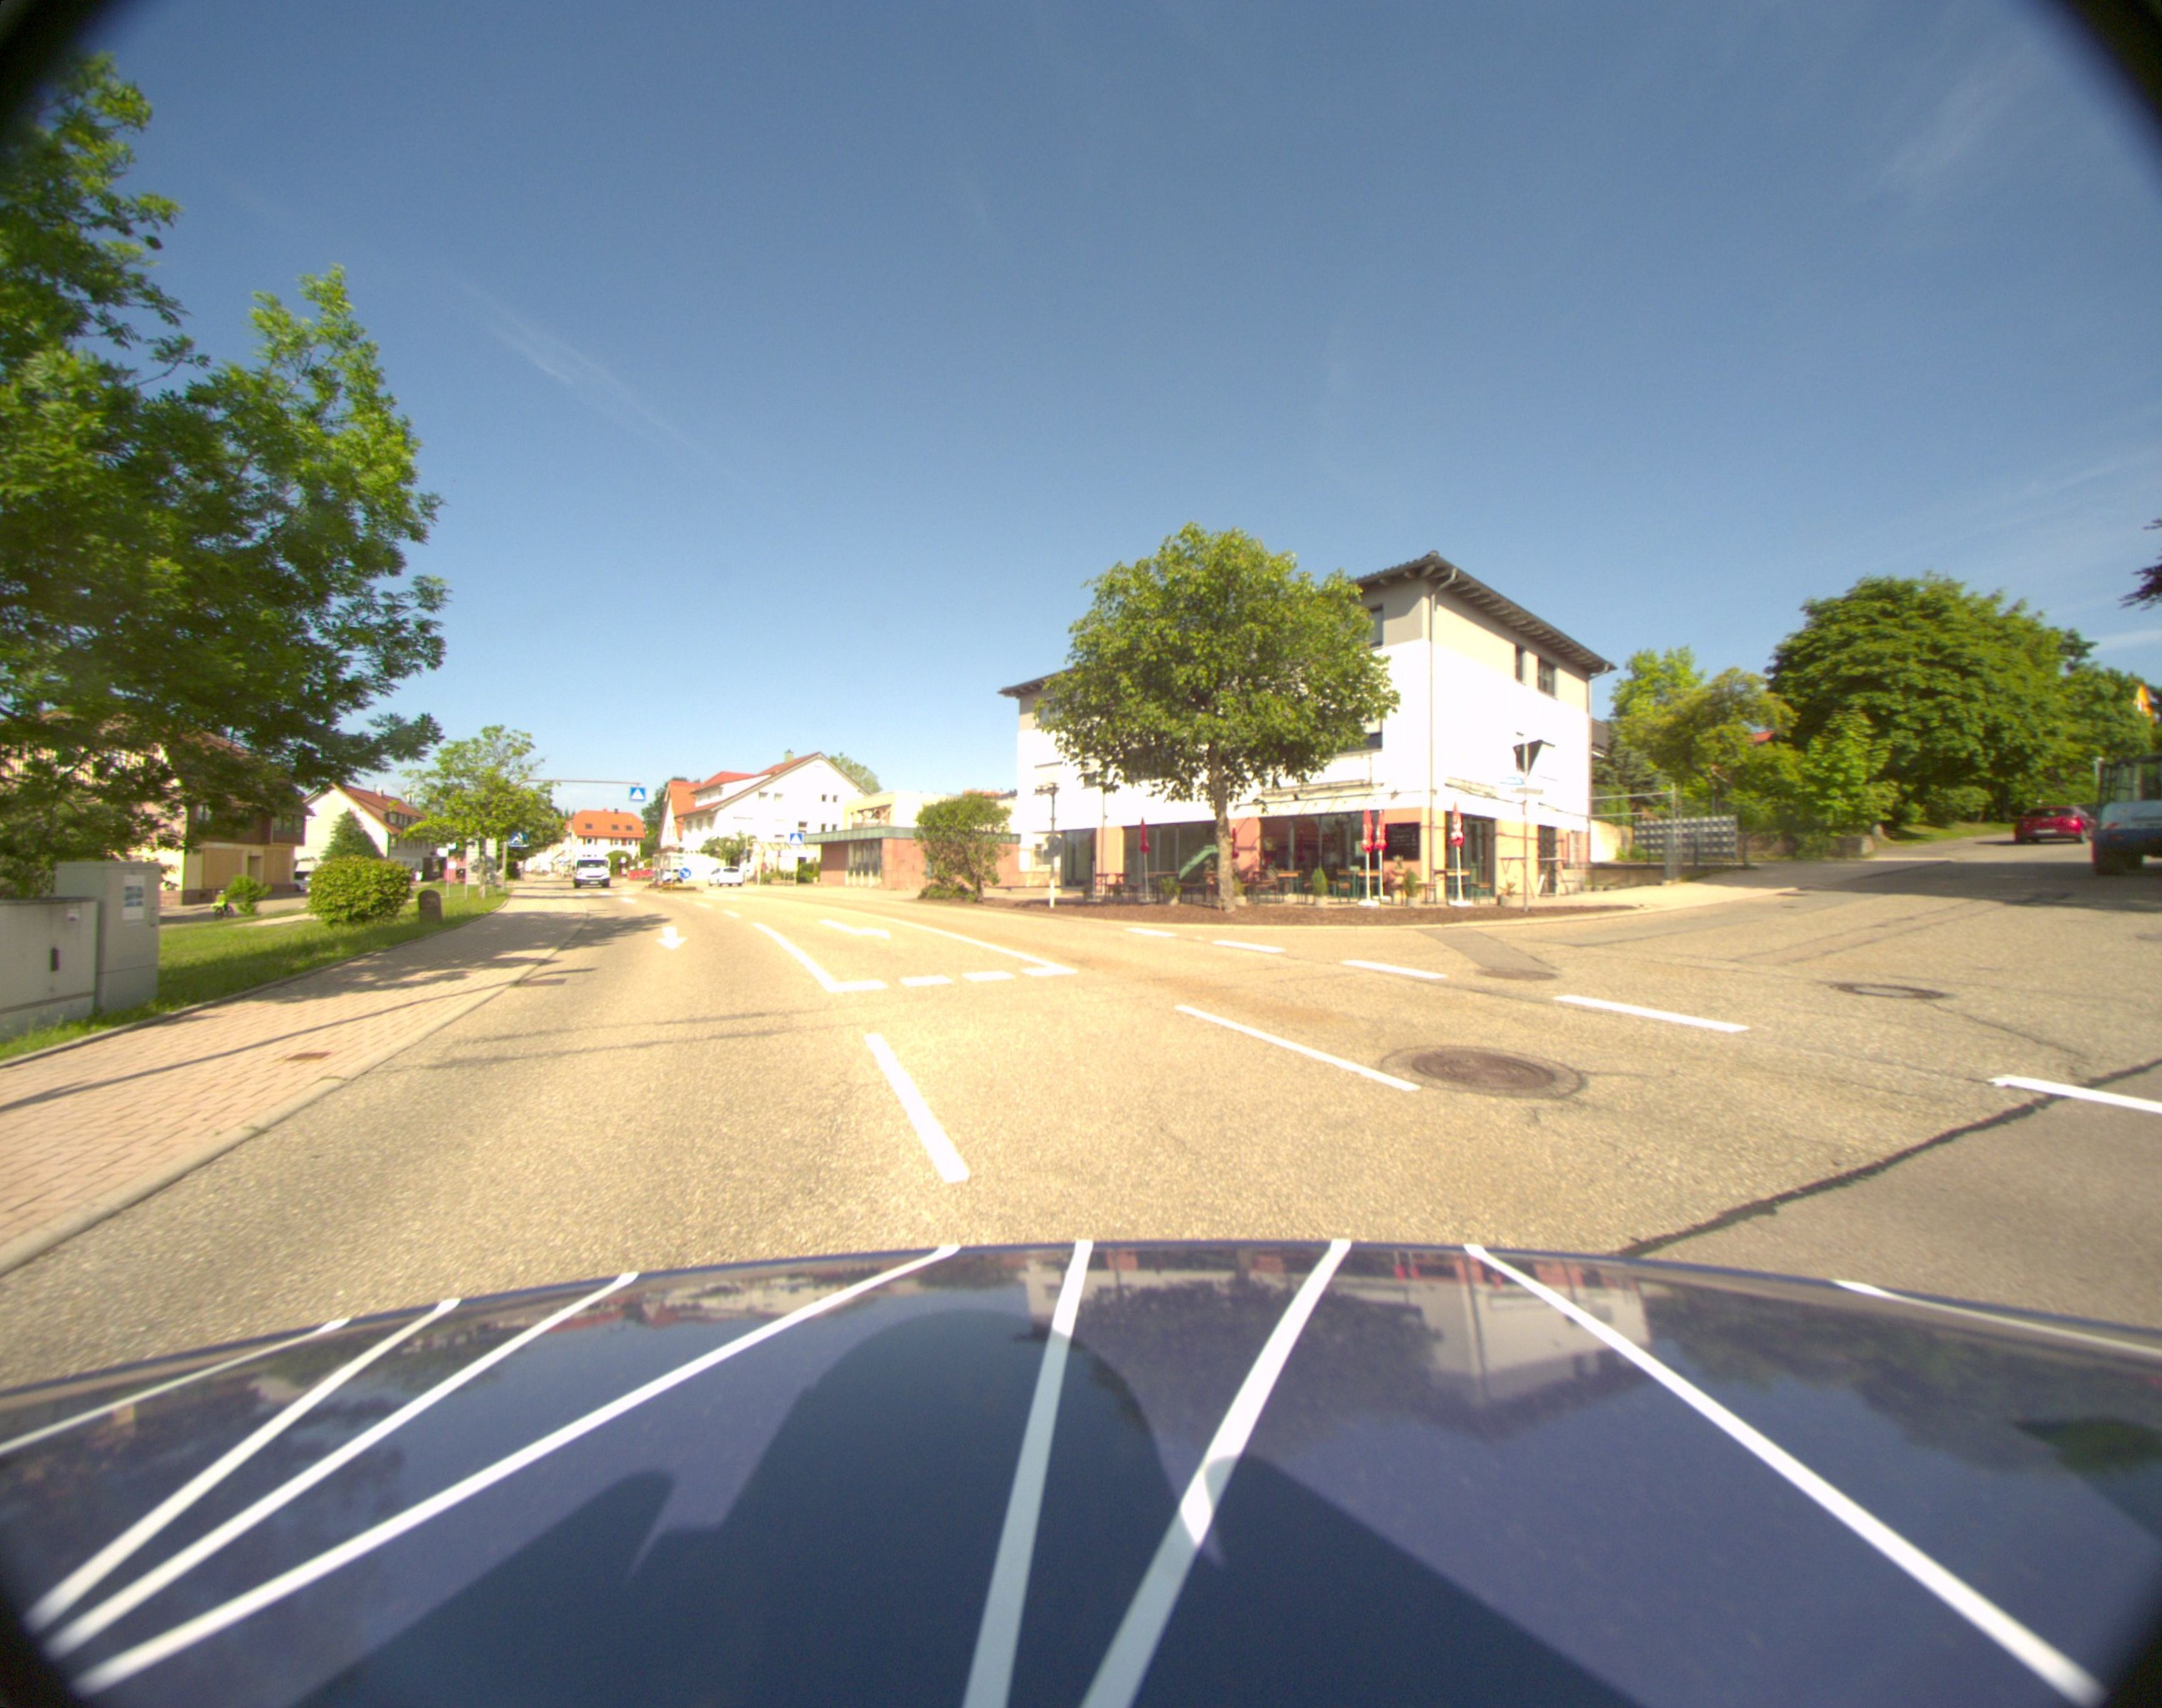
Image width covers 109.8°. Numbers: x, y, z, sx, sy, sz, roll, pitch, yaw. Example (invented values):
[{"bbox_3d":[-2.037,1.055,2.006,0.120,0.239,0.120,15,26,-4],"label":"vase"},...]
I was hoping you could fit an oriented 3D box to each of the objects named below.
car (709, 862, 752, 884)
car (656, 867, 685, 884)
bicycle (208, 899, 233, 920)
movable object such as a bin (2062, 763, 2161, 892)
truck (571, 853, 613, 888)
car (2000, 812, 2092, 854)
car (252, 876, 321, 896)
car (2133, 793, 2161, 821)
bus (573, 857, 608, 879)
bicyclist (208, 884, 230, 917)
[{"bbox_3d":[-25.990,1.418,56.362,1.779,1.460,3.703,-4,2,-43],"label":"car"},{"bbox_3d":[-37.992,1.996,70.278,1.779,1.425,3.704,-4,1,-37],"label":"car"},{"bbox_3d":[-52.202,3.359,46.081,0.539,1.183,1.723,-3,2,-34],"label":"bicycle"},{"bbox_3d":[25.234,-0.680,17.787,5.111,2.754,1.995,-3,2,-29],"label":"movable object such as a bin"},{"bbox_3d":[-35.404,1.123,54.940,2.004,2.328,6.476,0,0,-37],"label":"truck"},{"bbox_3d":[38.938,-0.855,30.647,3.815,1.489,1.621,-3,1,-28],"label":"car"},{"bbox_3d":[-67.833,2.723,64.967,3.719,1.425,1.772,-4,2,-35],"label":"car"},{"bbox_3d":[60.297,-2.659,42.151,3.815,1.462,1.772,-3,1,-28],"label":"car"},{"bbox_3d":[-72.061,2.130,111.492,2.723,2.996,15.184,-1,-1,-39],"label":"bus"},{"bbox_3d":[-52.157,2.784,45.989,0.583,1.914,0.995,-3,2,-34],"label":"bicyclist"}]
